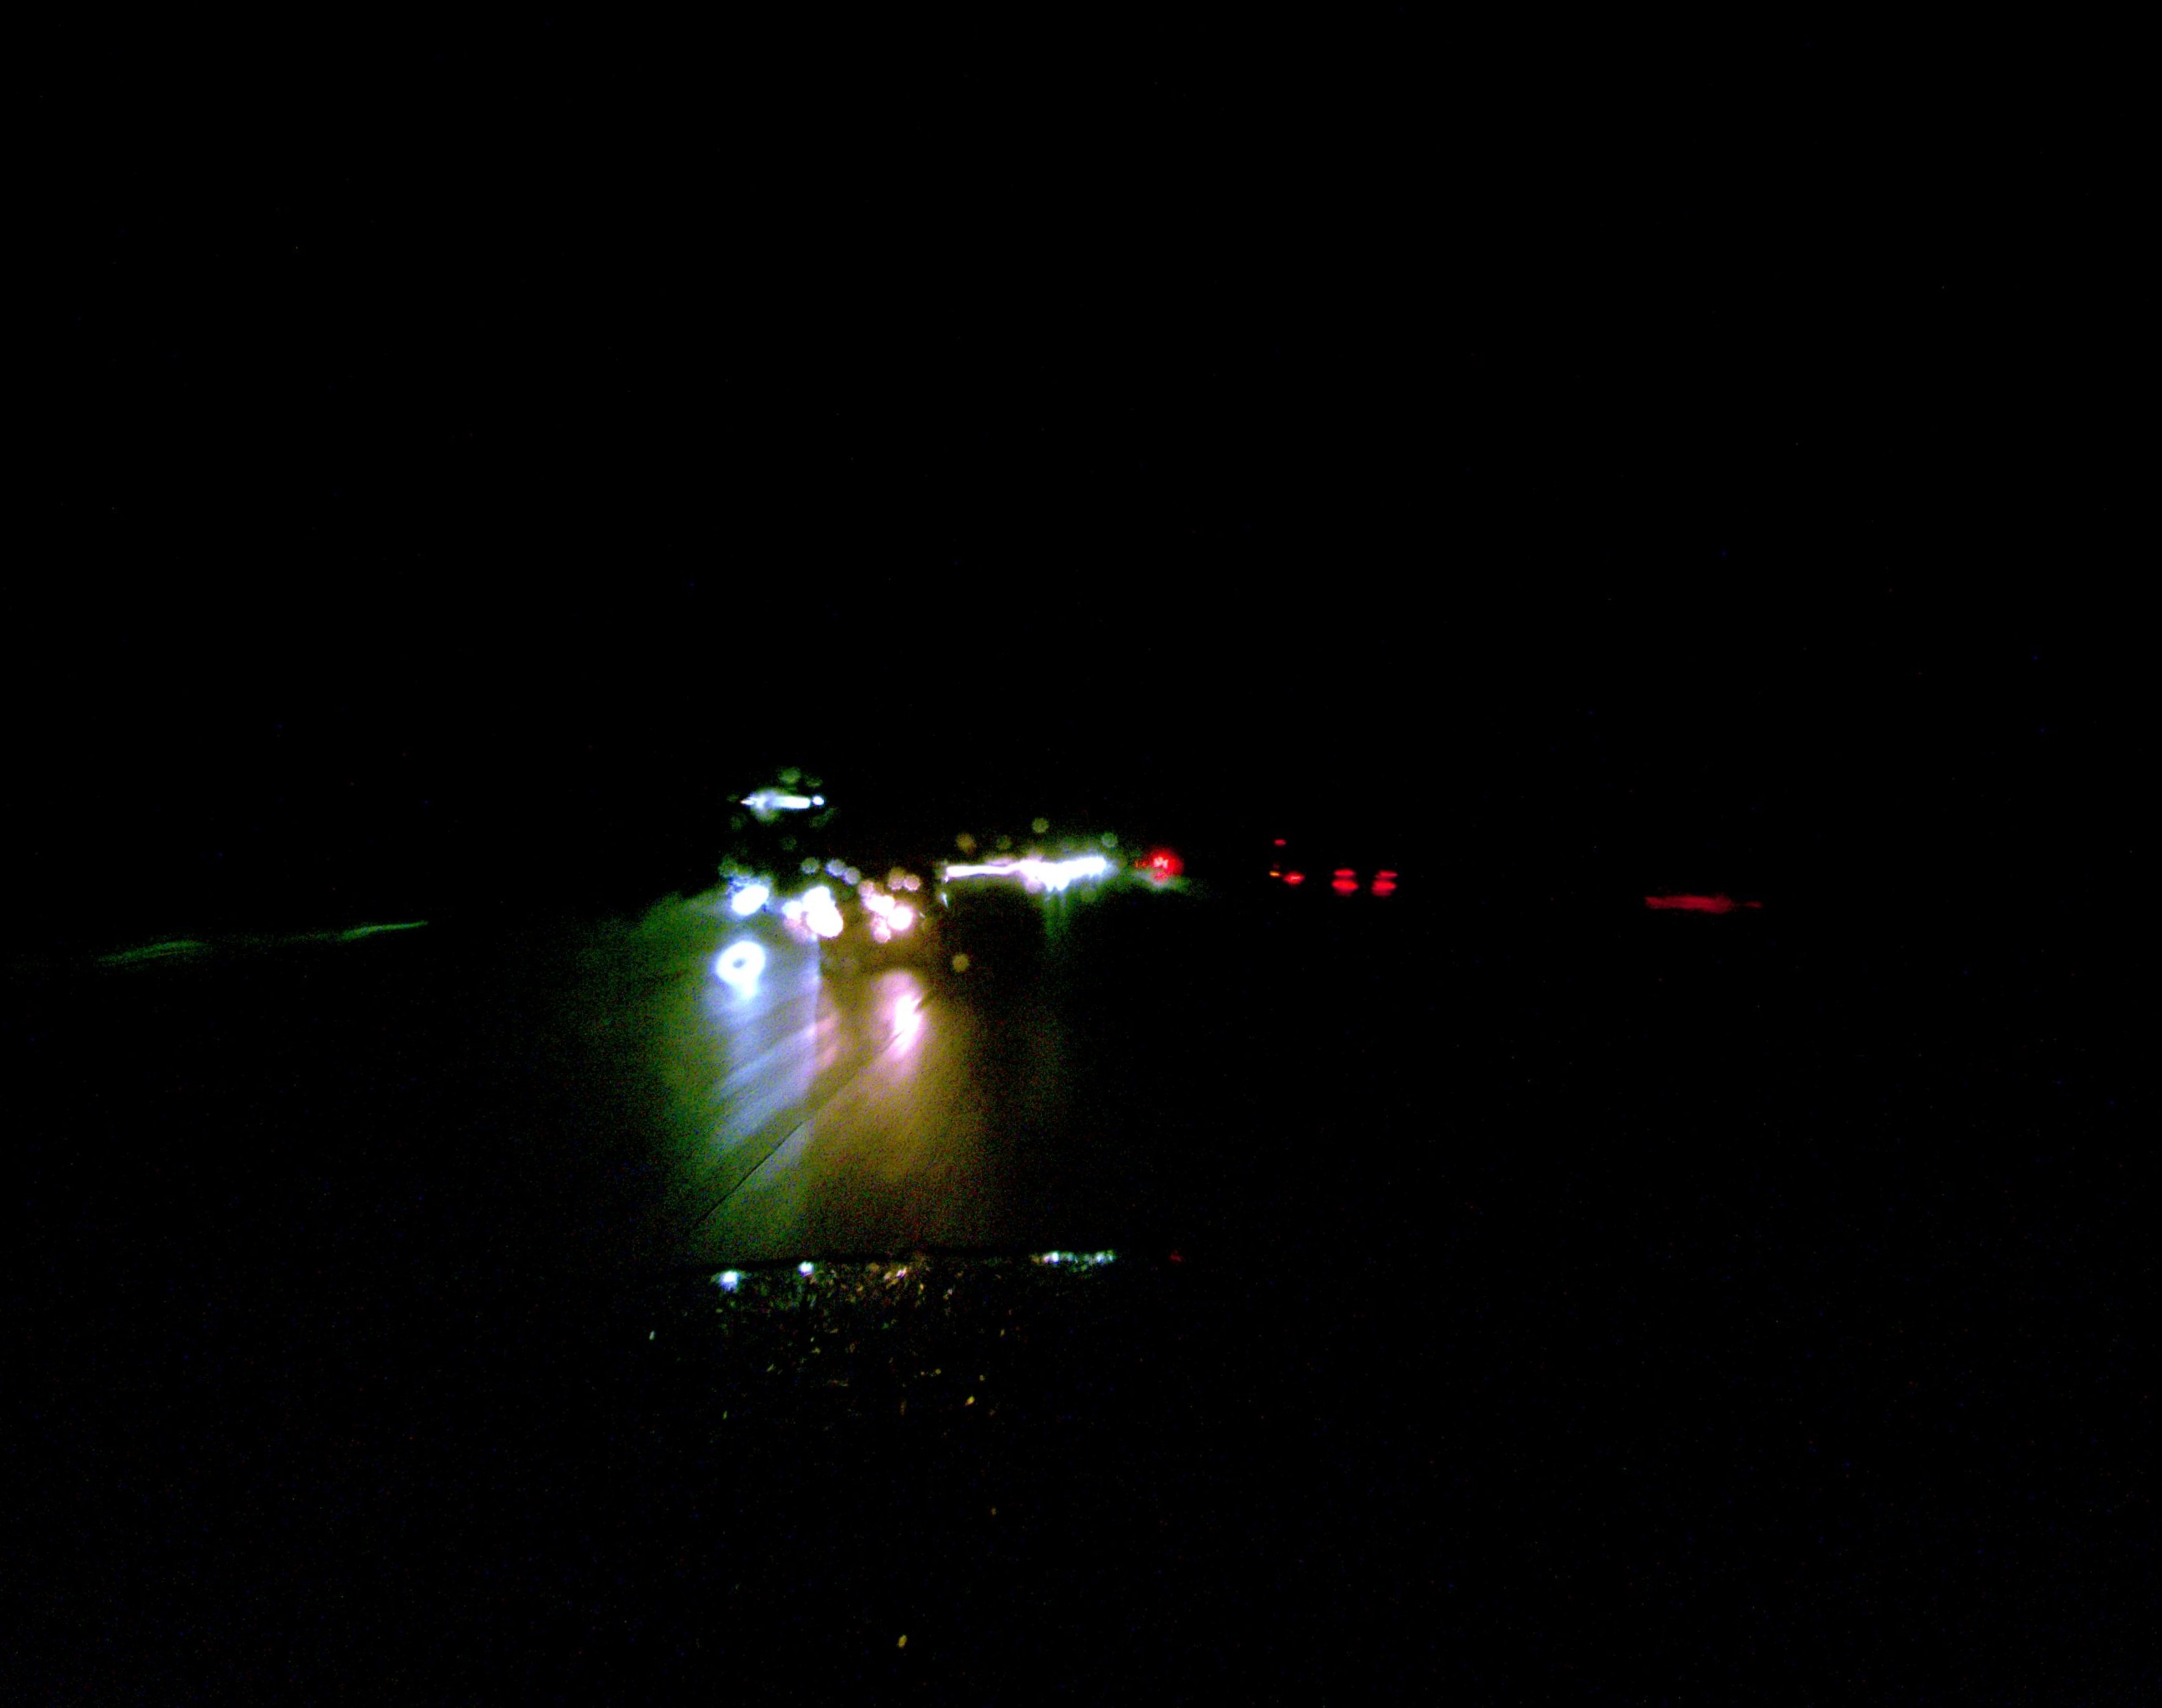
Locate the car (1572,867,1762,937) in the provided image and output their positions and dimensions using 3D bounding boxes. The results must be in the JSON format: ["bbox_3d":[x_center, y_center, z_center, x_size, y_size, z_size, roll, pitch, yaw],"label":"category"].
[{"bbox_3d":[16.614,1.288,21.915,1.921,1.674,4.505,0,1,-1],"label":"car"}]

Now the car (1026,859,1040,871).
[{"bbox_3d":[-6.246,1.494,99.760,1.644,1.494,4.013,-1,-1,-2],"label":"car"}]

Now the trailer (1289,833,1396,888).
[{"bbox_3d":[17.404,0.403,51.941,3.082,3.276,13.157,0,0,1],"label":"trailer"}]

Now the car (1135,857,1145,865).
[{"bbox_3d":[12.330,1.409,158.454,1.921,1.674,4.000,0,1,2],"label":"car"}]

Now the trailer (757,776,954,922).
[{"bbox_3d":[-7.518,-0.101,28.515,2.910,4.084,14.488,0,0,1],"label":"trailer"}]

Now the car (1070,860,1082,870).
[{"bbox_3d":[-0.839,1.893,128.591,1.883,1.653,4.001,-3,-2,-1],"label":"car"}]

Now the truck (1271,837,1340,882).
[{"bbox_3d":[17.579,0.434,60.120,3.082,3.276,8.344,0,0,1],"label":"truck"}]

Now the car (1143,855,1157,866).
[{"bbox_3d":[11.583,1.032,127.742,1.921,1.674,4.506,0,1,2],"label":"car"}]

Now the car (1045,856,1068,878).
[{"bbox_3d":[-2.317,1.252,72.101,1.999,2.001,4.000,-2,-1,-2],"label":"car"}]

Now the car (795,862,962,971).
[{"bbox_3d":[-3.440,0.979,13.839,1.745,1.566,4.494,-1,0,1],"label":"car"}]

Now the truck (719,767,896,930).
[{"bbox_3d":[-7.594,-0.116,22.079,2.910,4.084,6.031,0,0,1],"label":"truck"}]
